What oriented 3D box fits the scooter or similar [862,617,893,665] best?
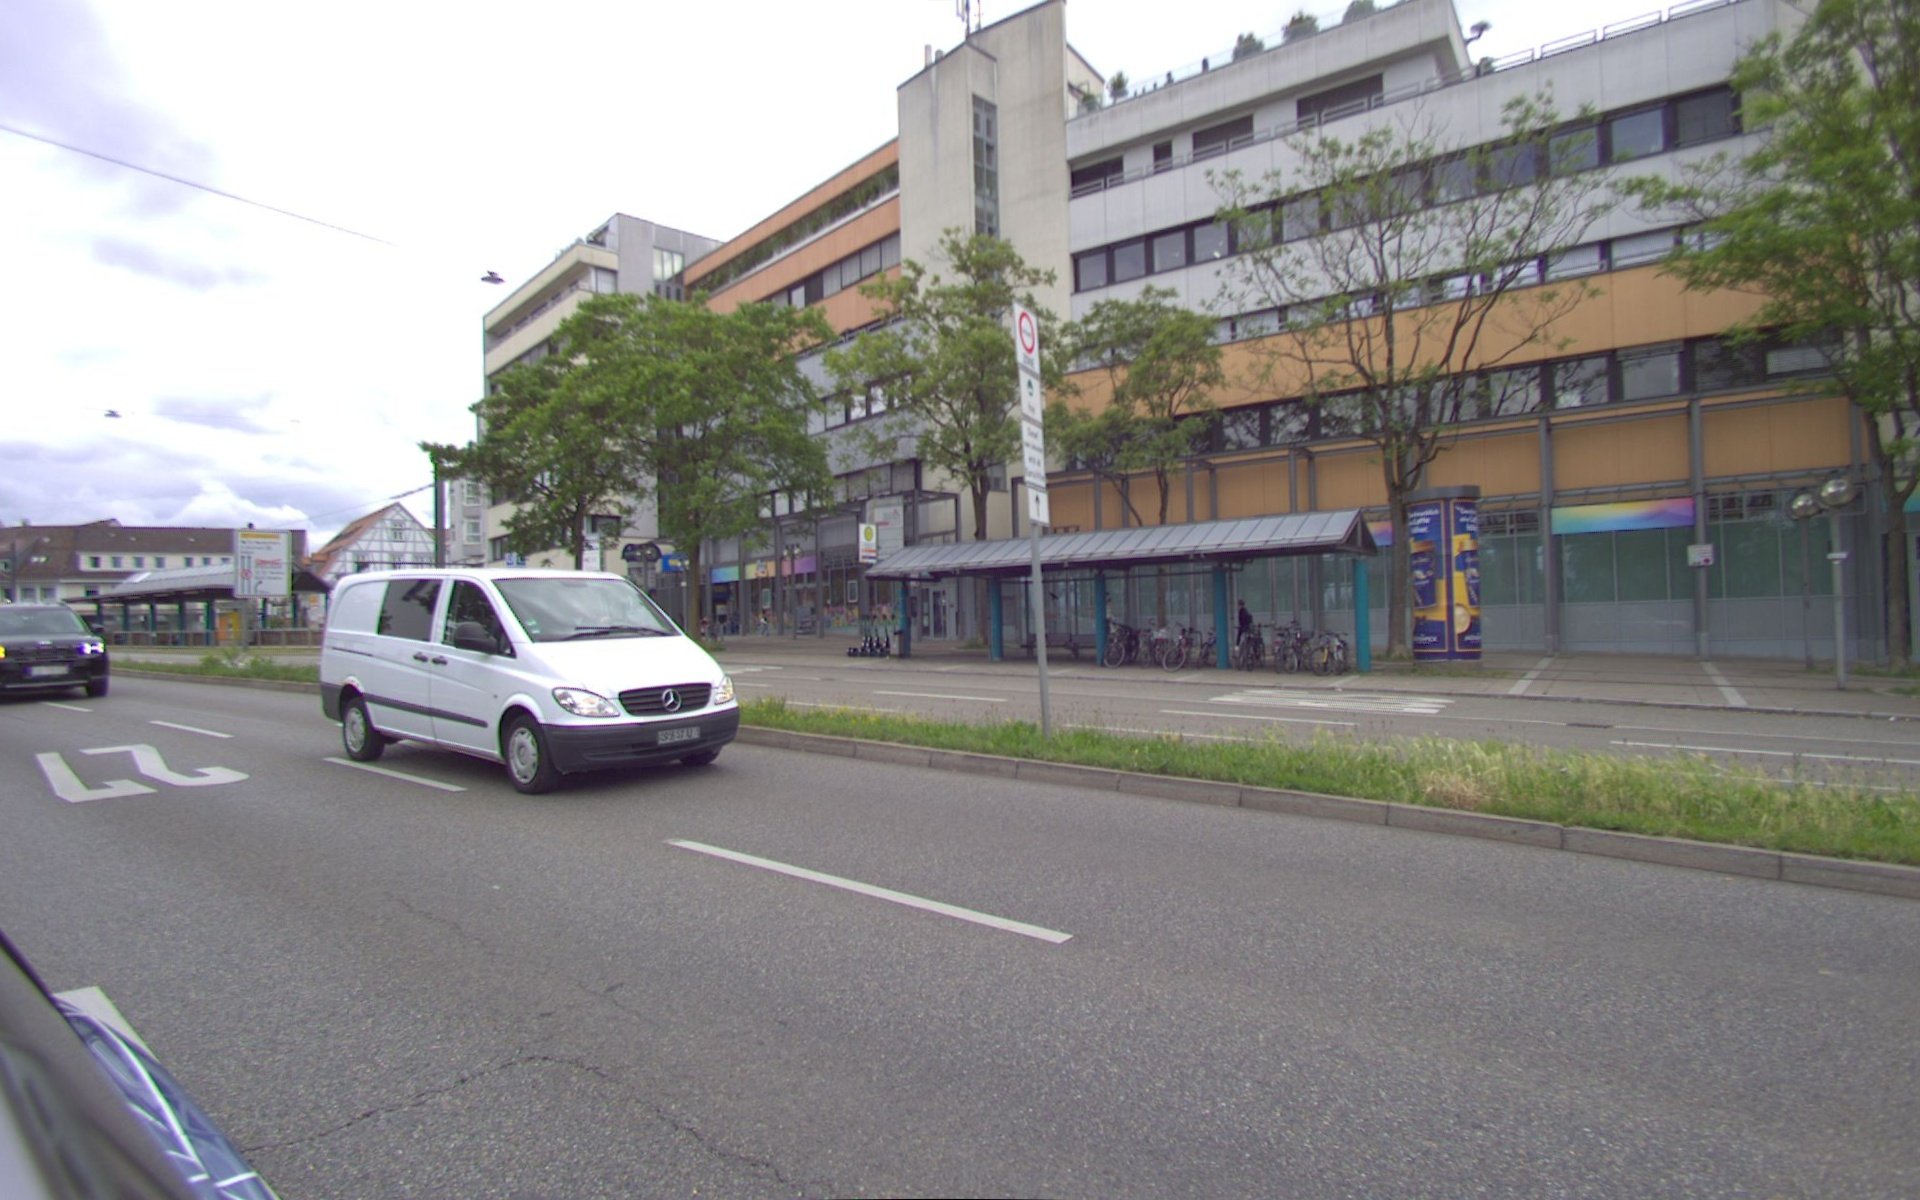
[{"bbox_3d":[-2.518,1.236,31.019,0.259,1.434,1.192,-1,-2,33],"label":"scooter or similar"}]

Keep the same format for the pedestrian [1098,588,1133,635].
[{"bbox_3d":[5.464,0.415,35.657,0.995,1.630,0.726,-1,-2,36],"label":"pedestrian"}]

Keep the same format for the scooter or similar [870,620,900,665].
[{"bbox_3d":[-2.271,1.282,30.850,0.259,1.330,1.192,-1,-2,33],"label":"scooter or similar"}]

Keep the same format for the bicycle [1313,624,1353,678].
[{"bbox_3d":[8.646,1.152,23.413,0.707,1.162,2.054,-1,-1,24],"label":"bicycle"}]

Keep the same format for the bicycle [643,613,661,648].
[{"bbox_3d":[-11.389,1.127,37.374,0.616,1.263,1.689,0,-1,-17],"label":"bicycle"}]

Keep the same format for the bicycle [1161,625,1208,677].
[{"bbox_3d":[5.544,1.221,24.933,0.707,1.162,2.054,-1,0,24],"label":"bicycle"}]

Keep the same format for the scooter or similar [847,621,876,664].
[{"bbox_3d":[-3.021,1.292,31.236,0.267,1.305,1.119,-1,-2,32],"label":"scooter or similar"}]

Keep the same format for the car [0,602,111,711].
[{"bbox_3d":[-17.371,0.972,18.674,4.676,1.764,1.902,-1,1,41],"label":"car"}]

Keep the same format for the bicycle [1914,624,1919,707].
[{"bbox_3d":[15.885,1.012,14.984,2.420,1.280,1.042,-1,1,37],"label":"bicycle"}]

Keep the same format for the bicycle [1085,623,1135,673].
[{"bbox_3d":[3.928,1.228,26.363,0.707,1.162,2.055,-1,1,24],"label":"bicycle"}]

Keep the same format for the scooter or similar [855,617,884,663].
[{"bbox_3d":[-2.771,1.228,31.122,0.221,1.395,1.192,-1,-2,33],"label":"scooter or similar"}]

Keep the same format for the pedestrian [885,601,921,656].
[{"bbox_3d":[-1.912,0.950,33.887,0.995,1.795,0.726,-1,-2,36],"label":"pedestrian"}]

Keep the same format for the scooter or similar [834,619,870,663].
[{"bbox_3d":[-3.350,1.257,31.391,0.338,1.279,1.311,-1,0,33],"label":"scooter or similar"}]

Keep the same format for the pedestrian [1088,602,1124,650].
[{"bbox_3d":[5.059,0.896,35.010,0.995,1.630,0.726,-1,-2,36],"label":"pedestrian"}]

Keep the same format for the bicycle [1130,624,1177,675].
[{"bbox_3d":[4.973,1.230,25.877,0.707,1.162,2.055,-1,1,24],"label":"bicycle"}]

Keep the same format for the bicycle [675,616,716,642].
[{"bbox_3d":[-13.781,1.512,52.820,1.941,1.329,0.707,1,-2,-34],"label":"bicycle"}]

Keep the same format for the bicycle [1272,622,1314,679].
[{"bbox_3d":[7.860,1.169,23.857,0.707,1.162,2.055,-1,2,24],"label":"bicycle"}]

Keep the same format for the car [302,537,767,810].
[{"bbox_3d":[-4.300,0.543,9.796,5.067,2.029,1.856,0,1,37],"label":"car"}]

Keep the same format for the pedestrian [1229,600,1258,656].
[{"bbox_3d":[8.552,0.836,30.569,0.675,1.656,0.526,-2,-2,41],"label":"pedestrian"}]

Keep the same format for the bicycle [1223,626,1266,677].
[{"bbox_3d":[6.898,1.218,24.464,0.707,1.162,2.054,-1,-1,24],"label":"bicycle"}]
